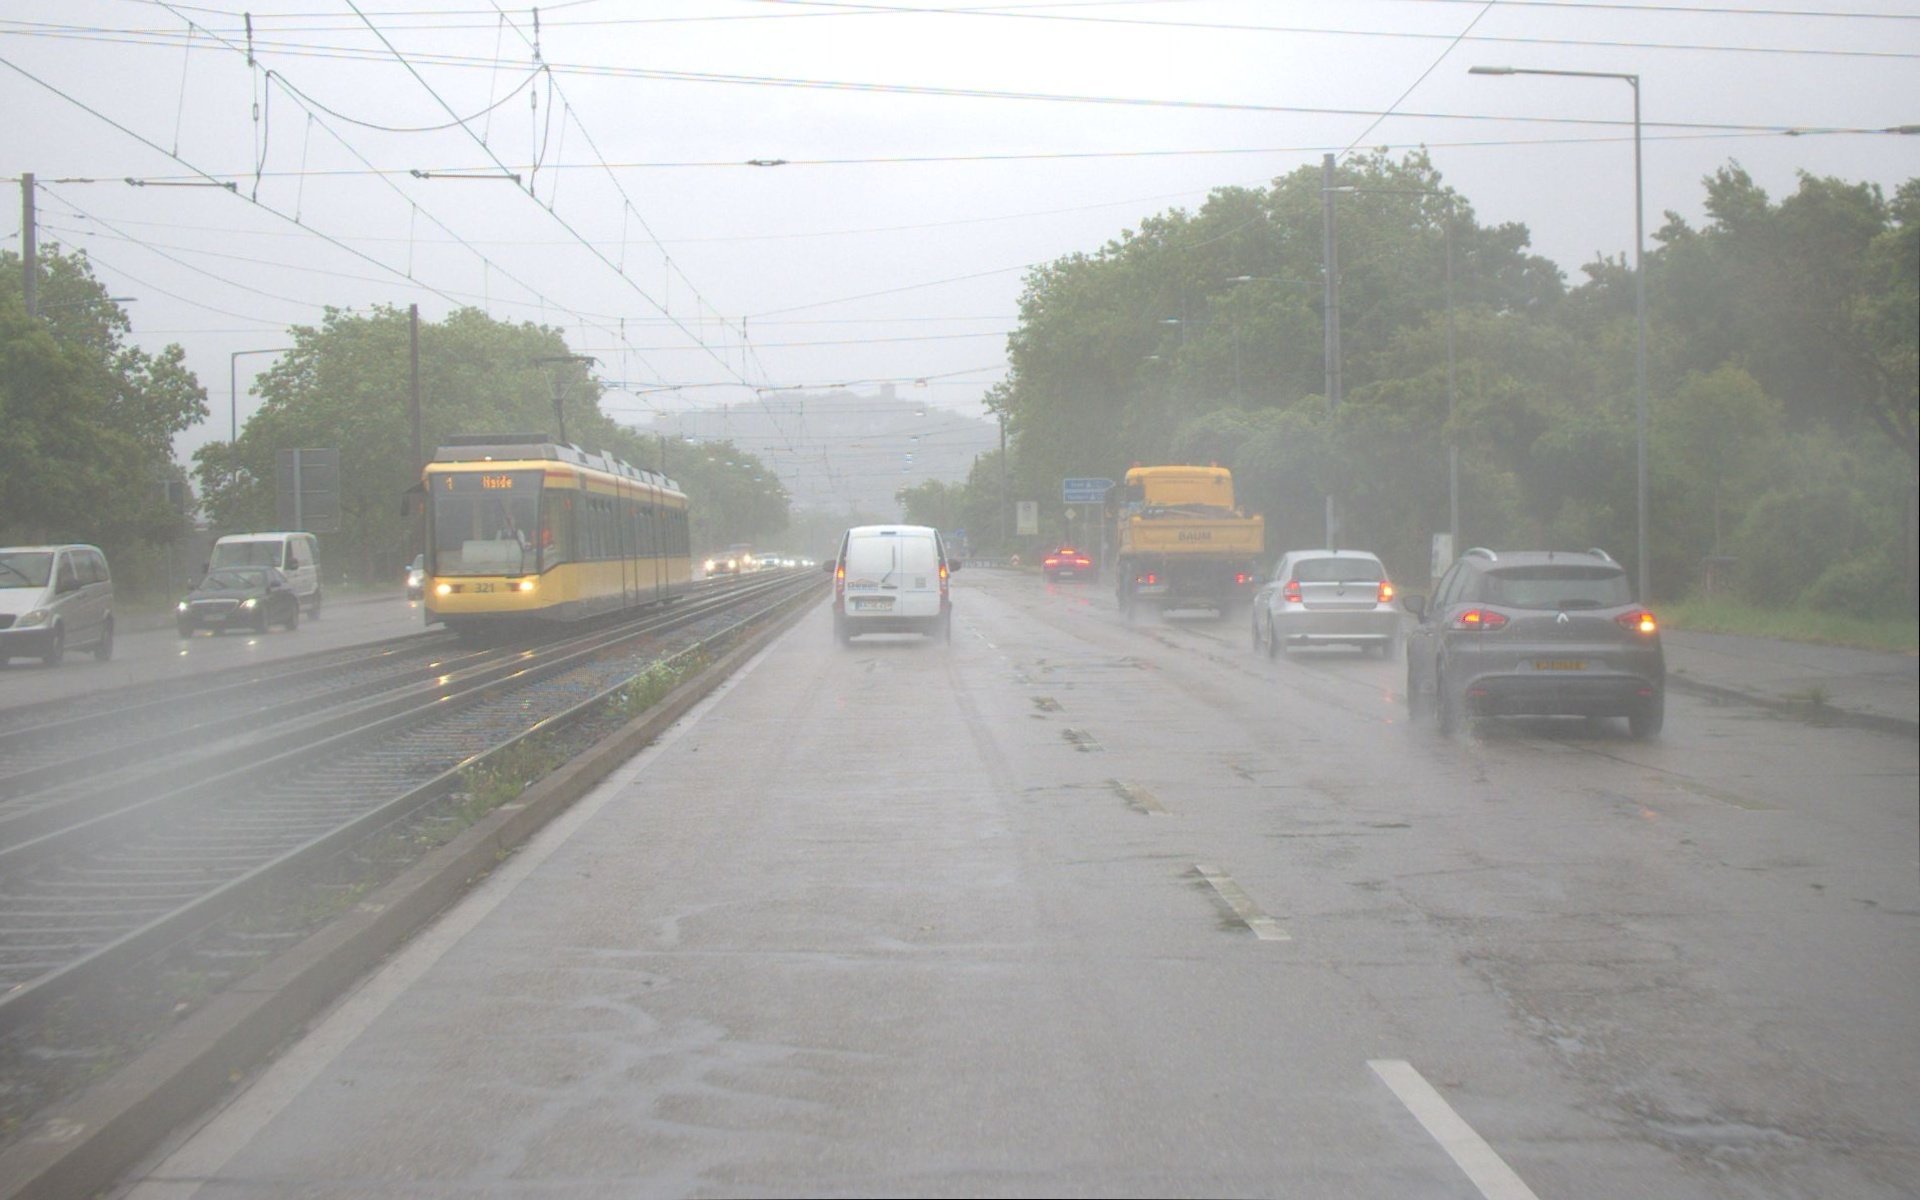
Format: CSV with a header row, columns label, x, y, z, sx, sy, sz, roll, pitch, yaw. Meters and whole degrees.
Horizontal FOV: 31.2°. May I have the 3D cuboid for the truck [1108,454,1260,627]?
label,x,y,z,sx,sy,sz,roll,pitch,yaw
truck,4.367,-1.229,68.168,2.555,3.246,6.933,0,2,0

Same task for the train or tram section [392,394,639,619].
label,x,y,z,sx,sy,sz,roll,pitch,yaw
train or tram section,-8.167,-1.823,65.650,2.864,3.692,17.893,0,2,-2

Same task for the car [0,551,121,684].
label,x,y,z,sx,sy,sz,roll,pitch,yaw
car,-14.510,0.232,53.219,1.888,1.878,4.622,0,2,0

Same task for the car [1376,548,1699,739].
label,x,y,z,sx,sy,sz,roll,pitch,yaw
car,4.587,0.296,27.900,1.888,1.352,4.277,0,2,0

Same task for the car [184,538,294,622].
label,x,y,z,sx,sy,sz,roll,pitch,yaw
car,-15.550,-0.451,74.289,1.667,1.717,3.733,0,2,-1

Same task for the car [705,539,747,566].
label,x,y,z,sx,sy,sz,roll,pitch,yaw
car,-14.326,-2.899,210.364,1.993,1.459,5.251,-3,2,2

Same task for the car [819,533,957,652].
label,x,y,z,sx,sy,sz,roll,pitch,yaw
car,-1.050,-0.144,51.829,1.989,1.678,3.740,0,2,0

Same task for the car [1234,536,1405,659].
label,x,y,z,sx,sy,sz,roll,pitch,yaw
car,4.784,-0.076,46.303,1.626,1.498,4.607,0,2,-2
